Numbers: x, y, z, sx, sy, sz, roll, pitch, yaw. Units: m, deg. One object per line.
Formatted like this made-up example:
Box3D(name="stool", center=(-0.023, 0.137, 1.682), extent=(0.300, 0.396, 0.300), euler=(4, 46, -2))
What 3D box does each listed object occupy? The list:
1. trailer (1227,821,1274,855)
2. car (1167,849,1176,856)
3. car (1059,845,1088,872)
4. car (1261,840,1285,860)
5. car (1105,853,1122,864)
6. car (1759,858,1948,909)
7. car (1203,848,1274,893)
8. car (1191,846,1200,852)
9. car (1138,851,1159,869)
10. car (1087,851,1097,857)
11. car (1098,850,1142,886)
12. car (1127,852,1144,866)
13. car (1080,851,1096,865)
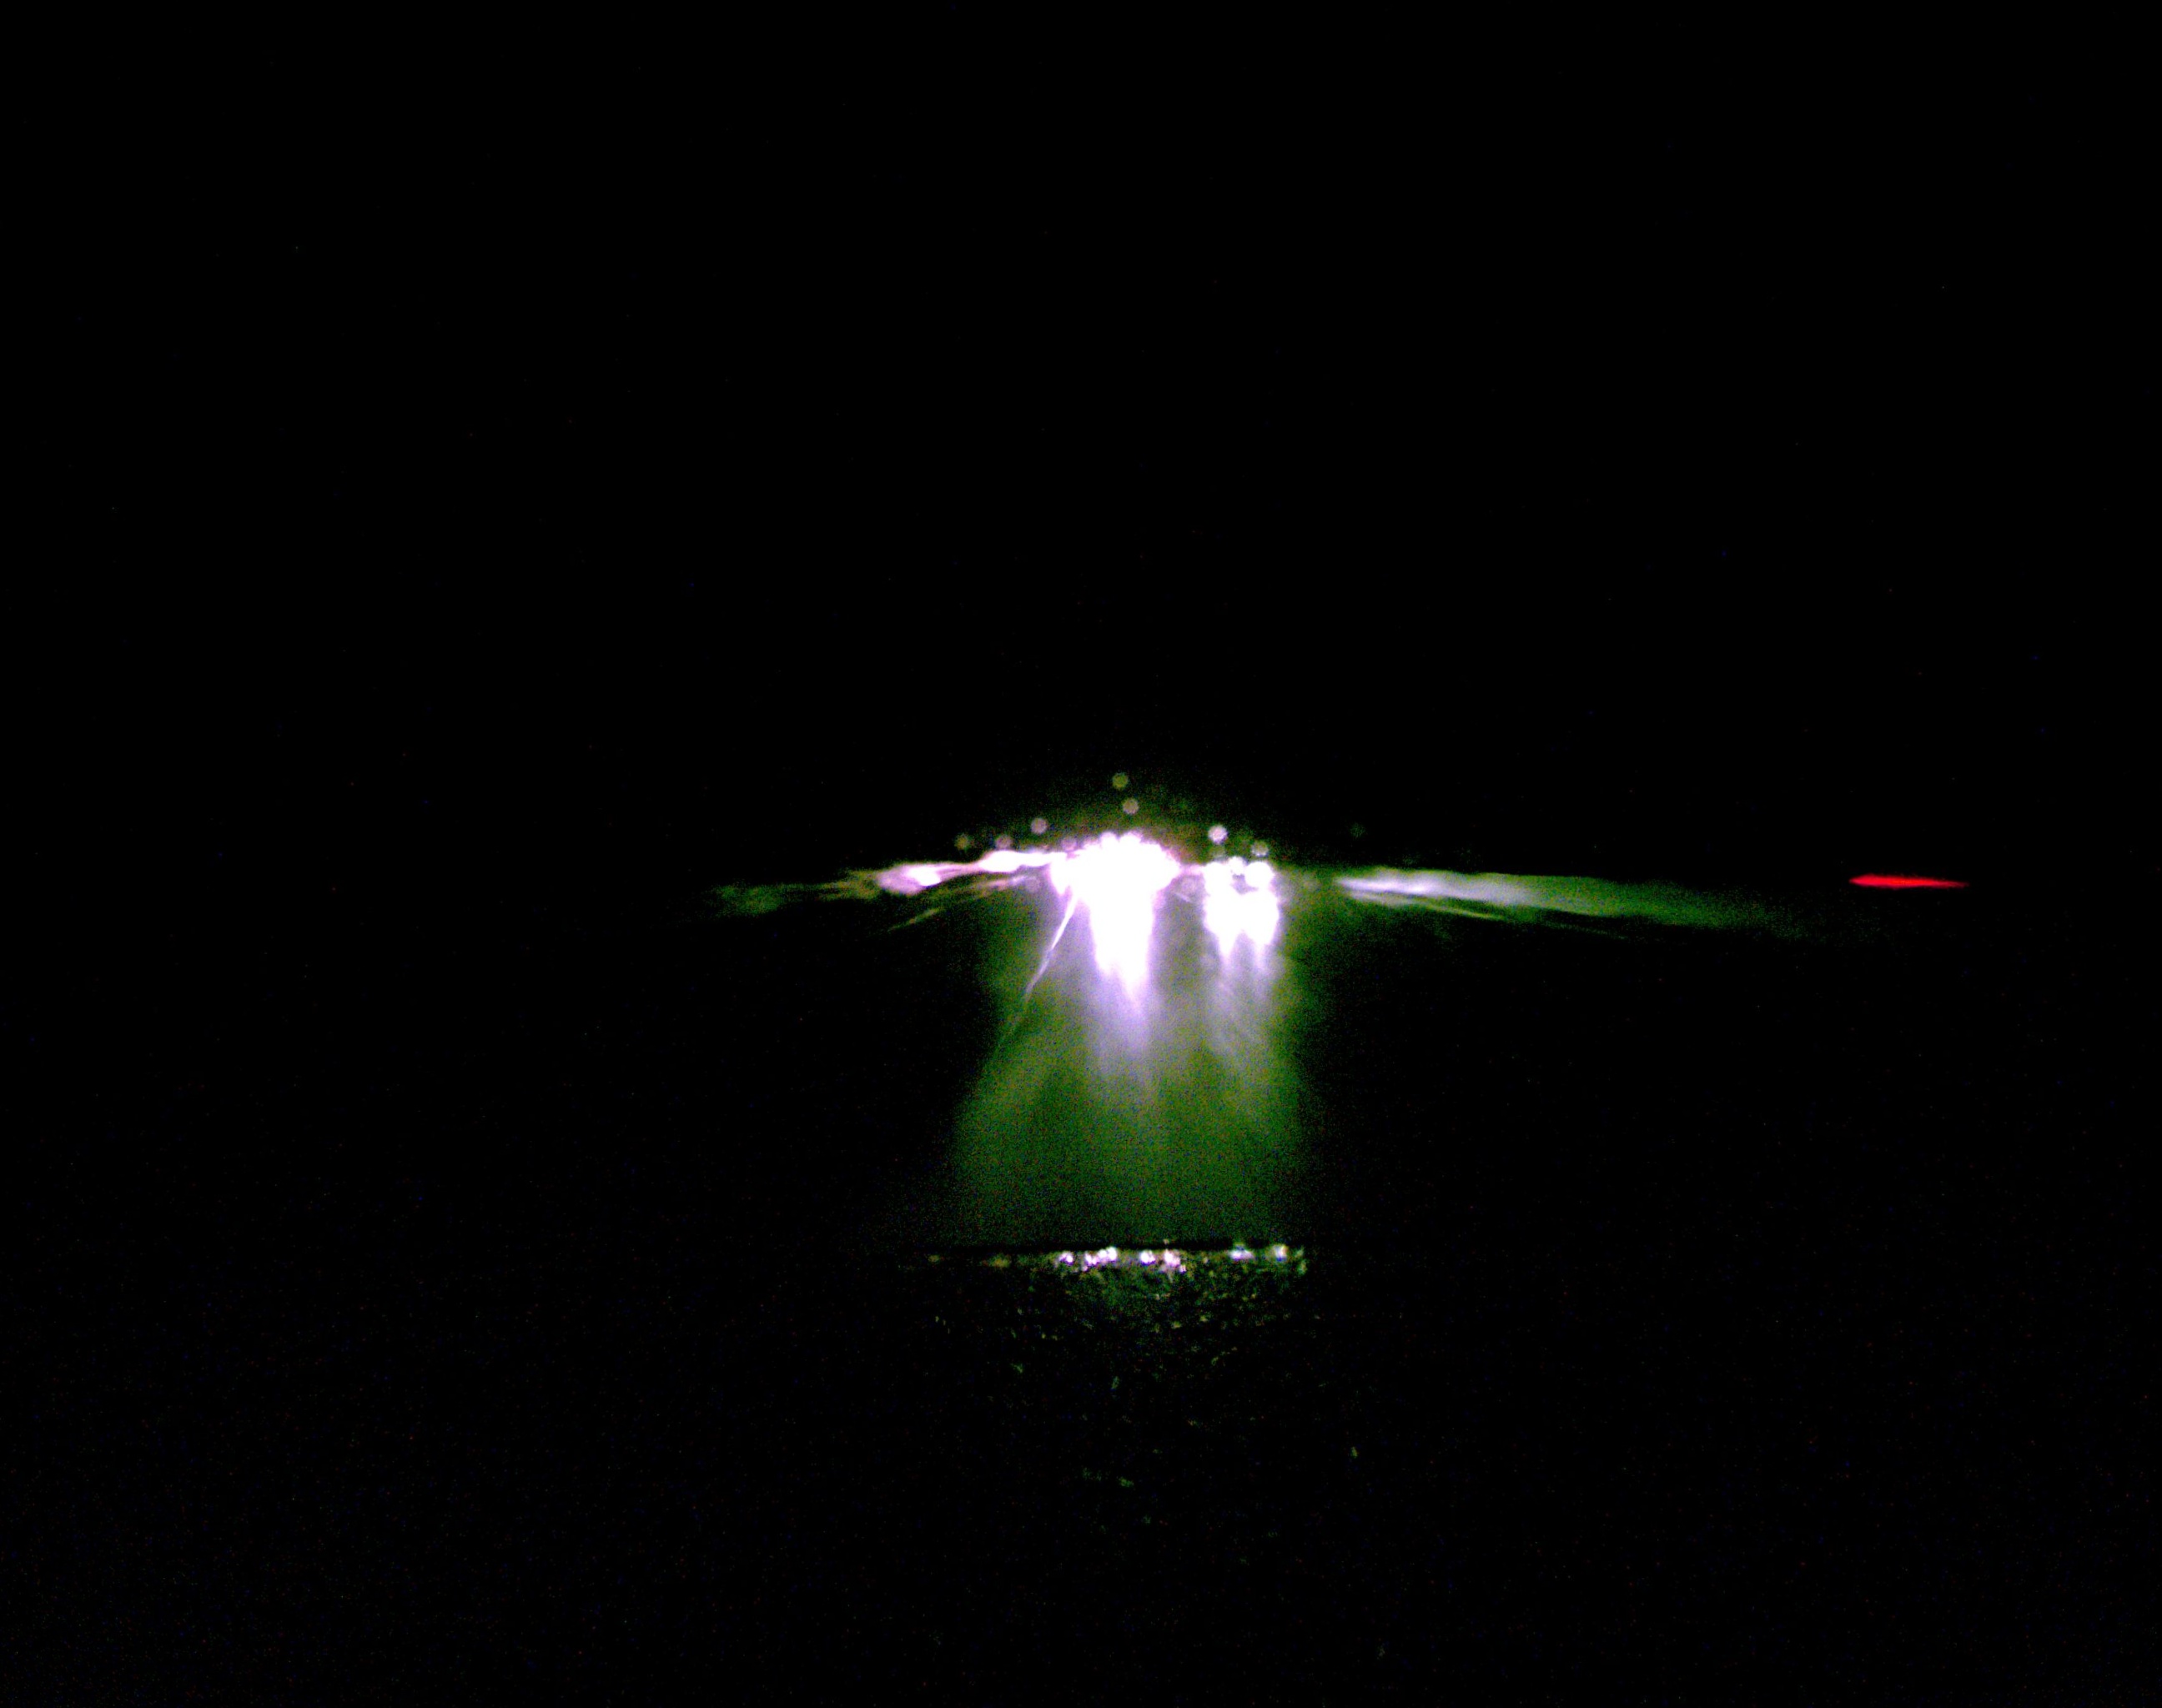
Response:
Box3D(name="trailer", center=(24.951, -2.342, 112.726), extent=(4.177, 4.598, 13.956), euler=(1, 1, 2))
Box3D(name="car", center=(23.385, -0.446, 196.907), extent=(1.838, 1.652, 3.999), euler=(-1, 1, -1))
Box3D(name="car", center=(-0.553, 0.316, 61.113), extent=(1.998, 2.002, 4.000), euler=(1, 1, 4))
Box3D(name="car", center=(21.774, -0.477, 86.478), extent=(1.797, 2.116, 3.950), euler=(-1, 1, 1))
Box3D(name="car", center=(3.594, 0.493, 83.185), extent=(1.692, 1.150, 3.421), euler=(1, 1, 4))
Box3D(name="car", center=(26.150, 0.936, 25.982), extent=(1.998, 1.477, 4.407), euler=(-3, 0, 1))
Box3D(name="car", center=(6.162, 0.591, 30.208), extent=(2.309, 1.600, 3.872), euler=(1, 1, 5))
Box3D(name="car", center=(31.528, -1.426, 209.206), extent=(1.712, 1.456, 3.999), euler=(-4, 1, 2))
Box3D(name="car", center=(6.932, 0.580, 78.234), extent=(1.998, 1.667, 4.000), euler=(1, 1, 3))
Box3D(name="car", center=(2.410, -0.083, 167.102), extent=(1.998, 1.150, 3.999), euler=(1, 1, 1))
Box3D(name="car", center=(2.043, 0.659, 38.427), extent=(1.997, 1.667, 4.001), euler=(1, 1, 6))
Box3D(name="car", center=(7.109, 0.608, 98.974), extent=(1.998, 1.745, 3.999), euler=(0, 1, 0))
Box3D(name="car", center=(0.962, 0.569, 101.762), extent=(1.998, 1.745, 4.000), euler=(0, 1, 2))
